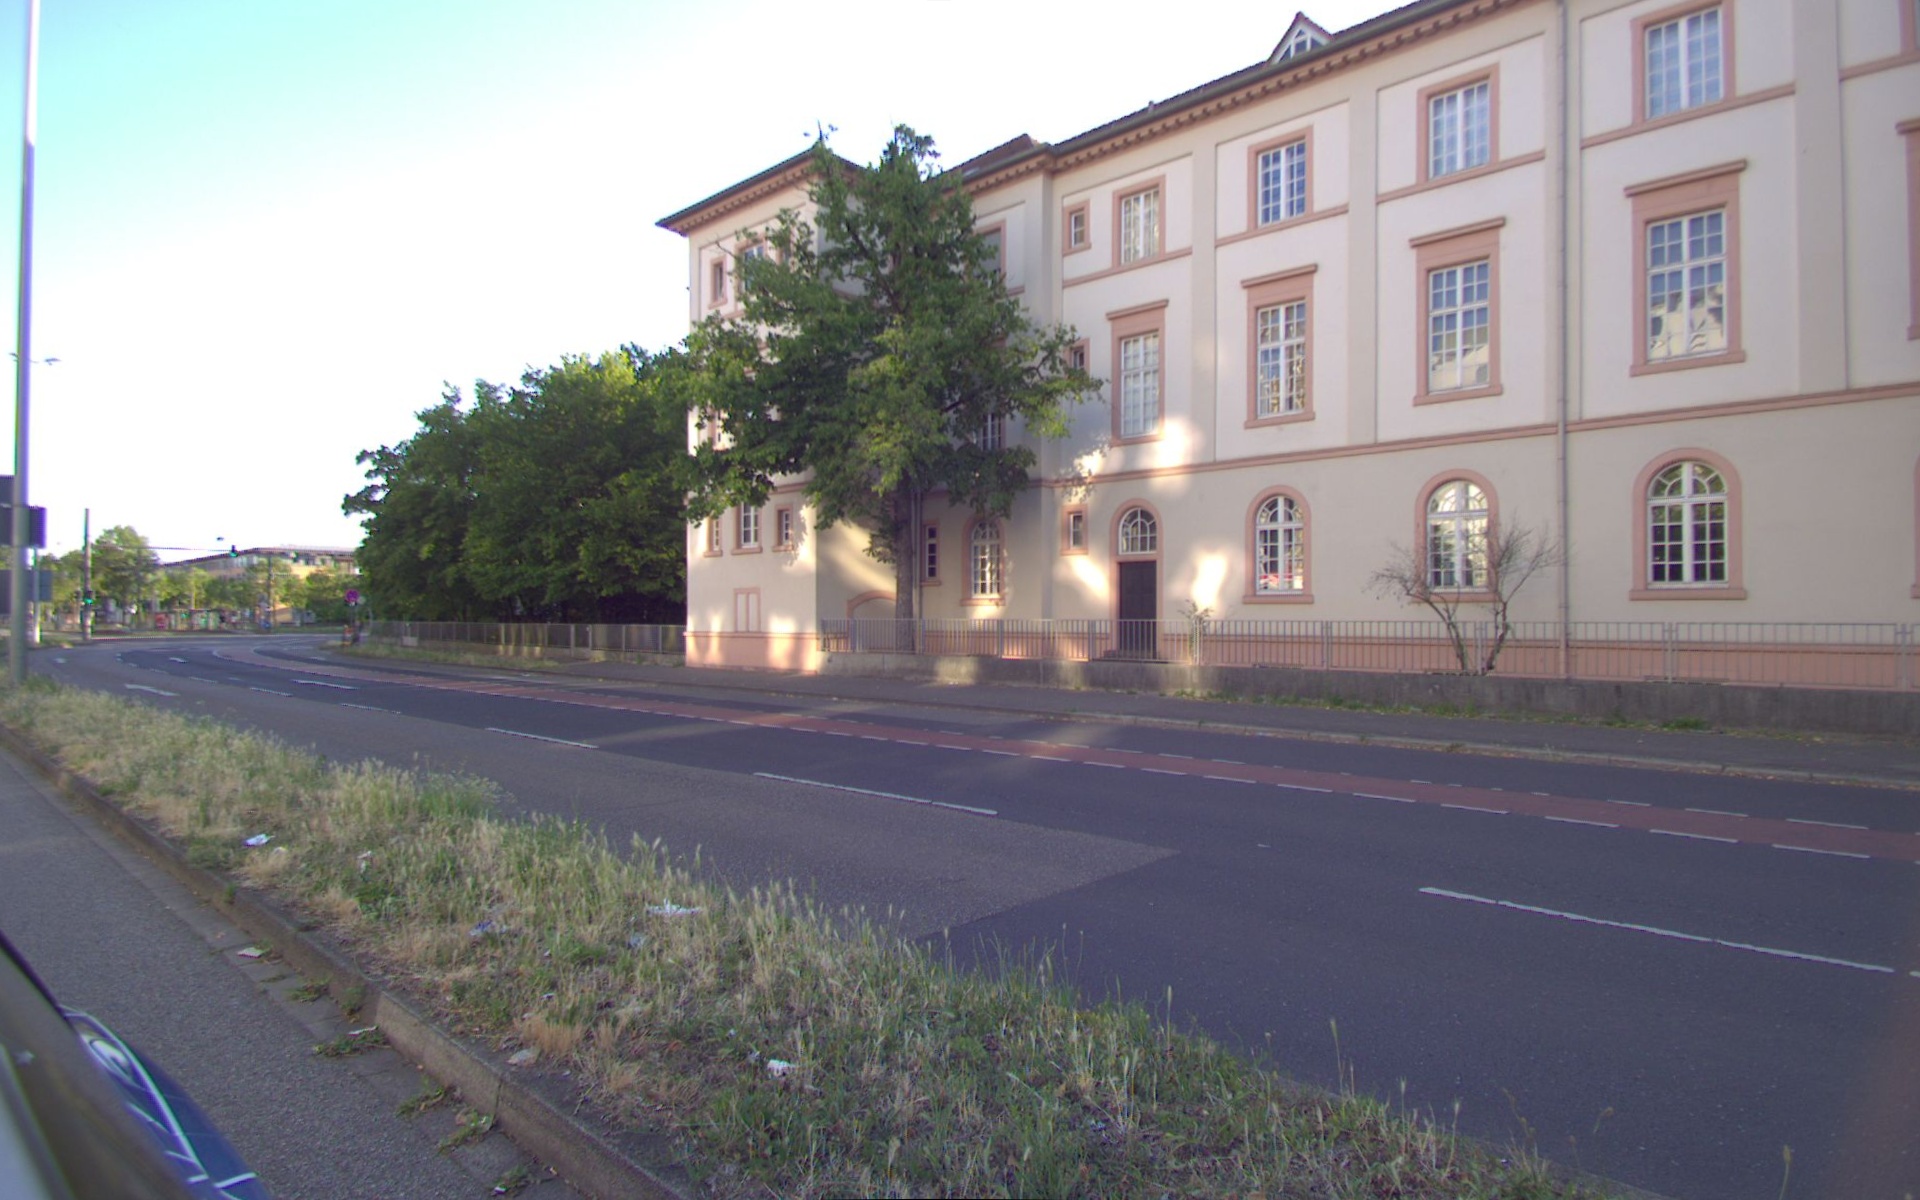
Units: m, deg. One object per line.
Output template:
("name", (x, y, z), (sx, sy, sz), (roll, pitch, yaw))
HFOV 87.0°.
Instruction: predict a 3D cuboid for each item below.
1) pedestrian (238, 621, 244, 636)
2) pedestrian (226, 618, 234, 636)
("pedestrian", (-81.376, 3.223, 114.570), (0.419, 1.718, 0.461), (-1, -2, 41))
("pedestrian", (-82.220, 3.091, 114.037), (0.664, 2.029, 0.549), (-1, -2, 41))
